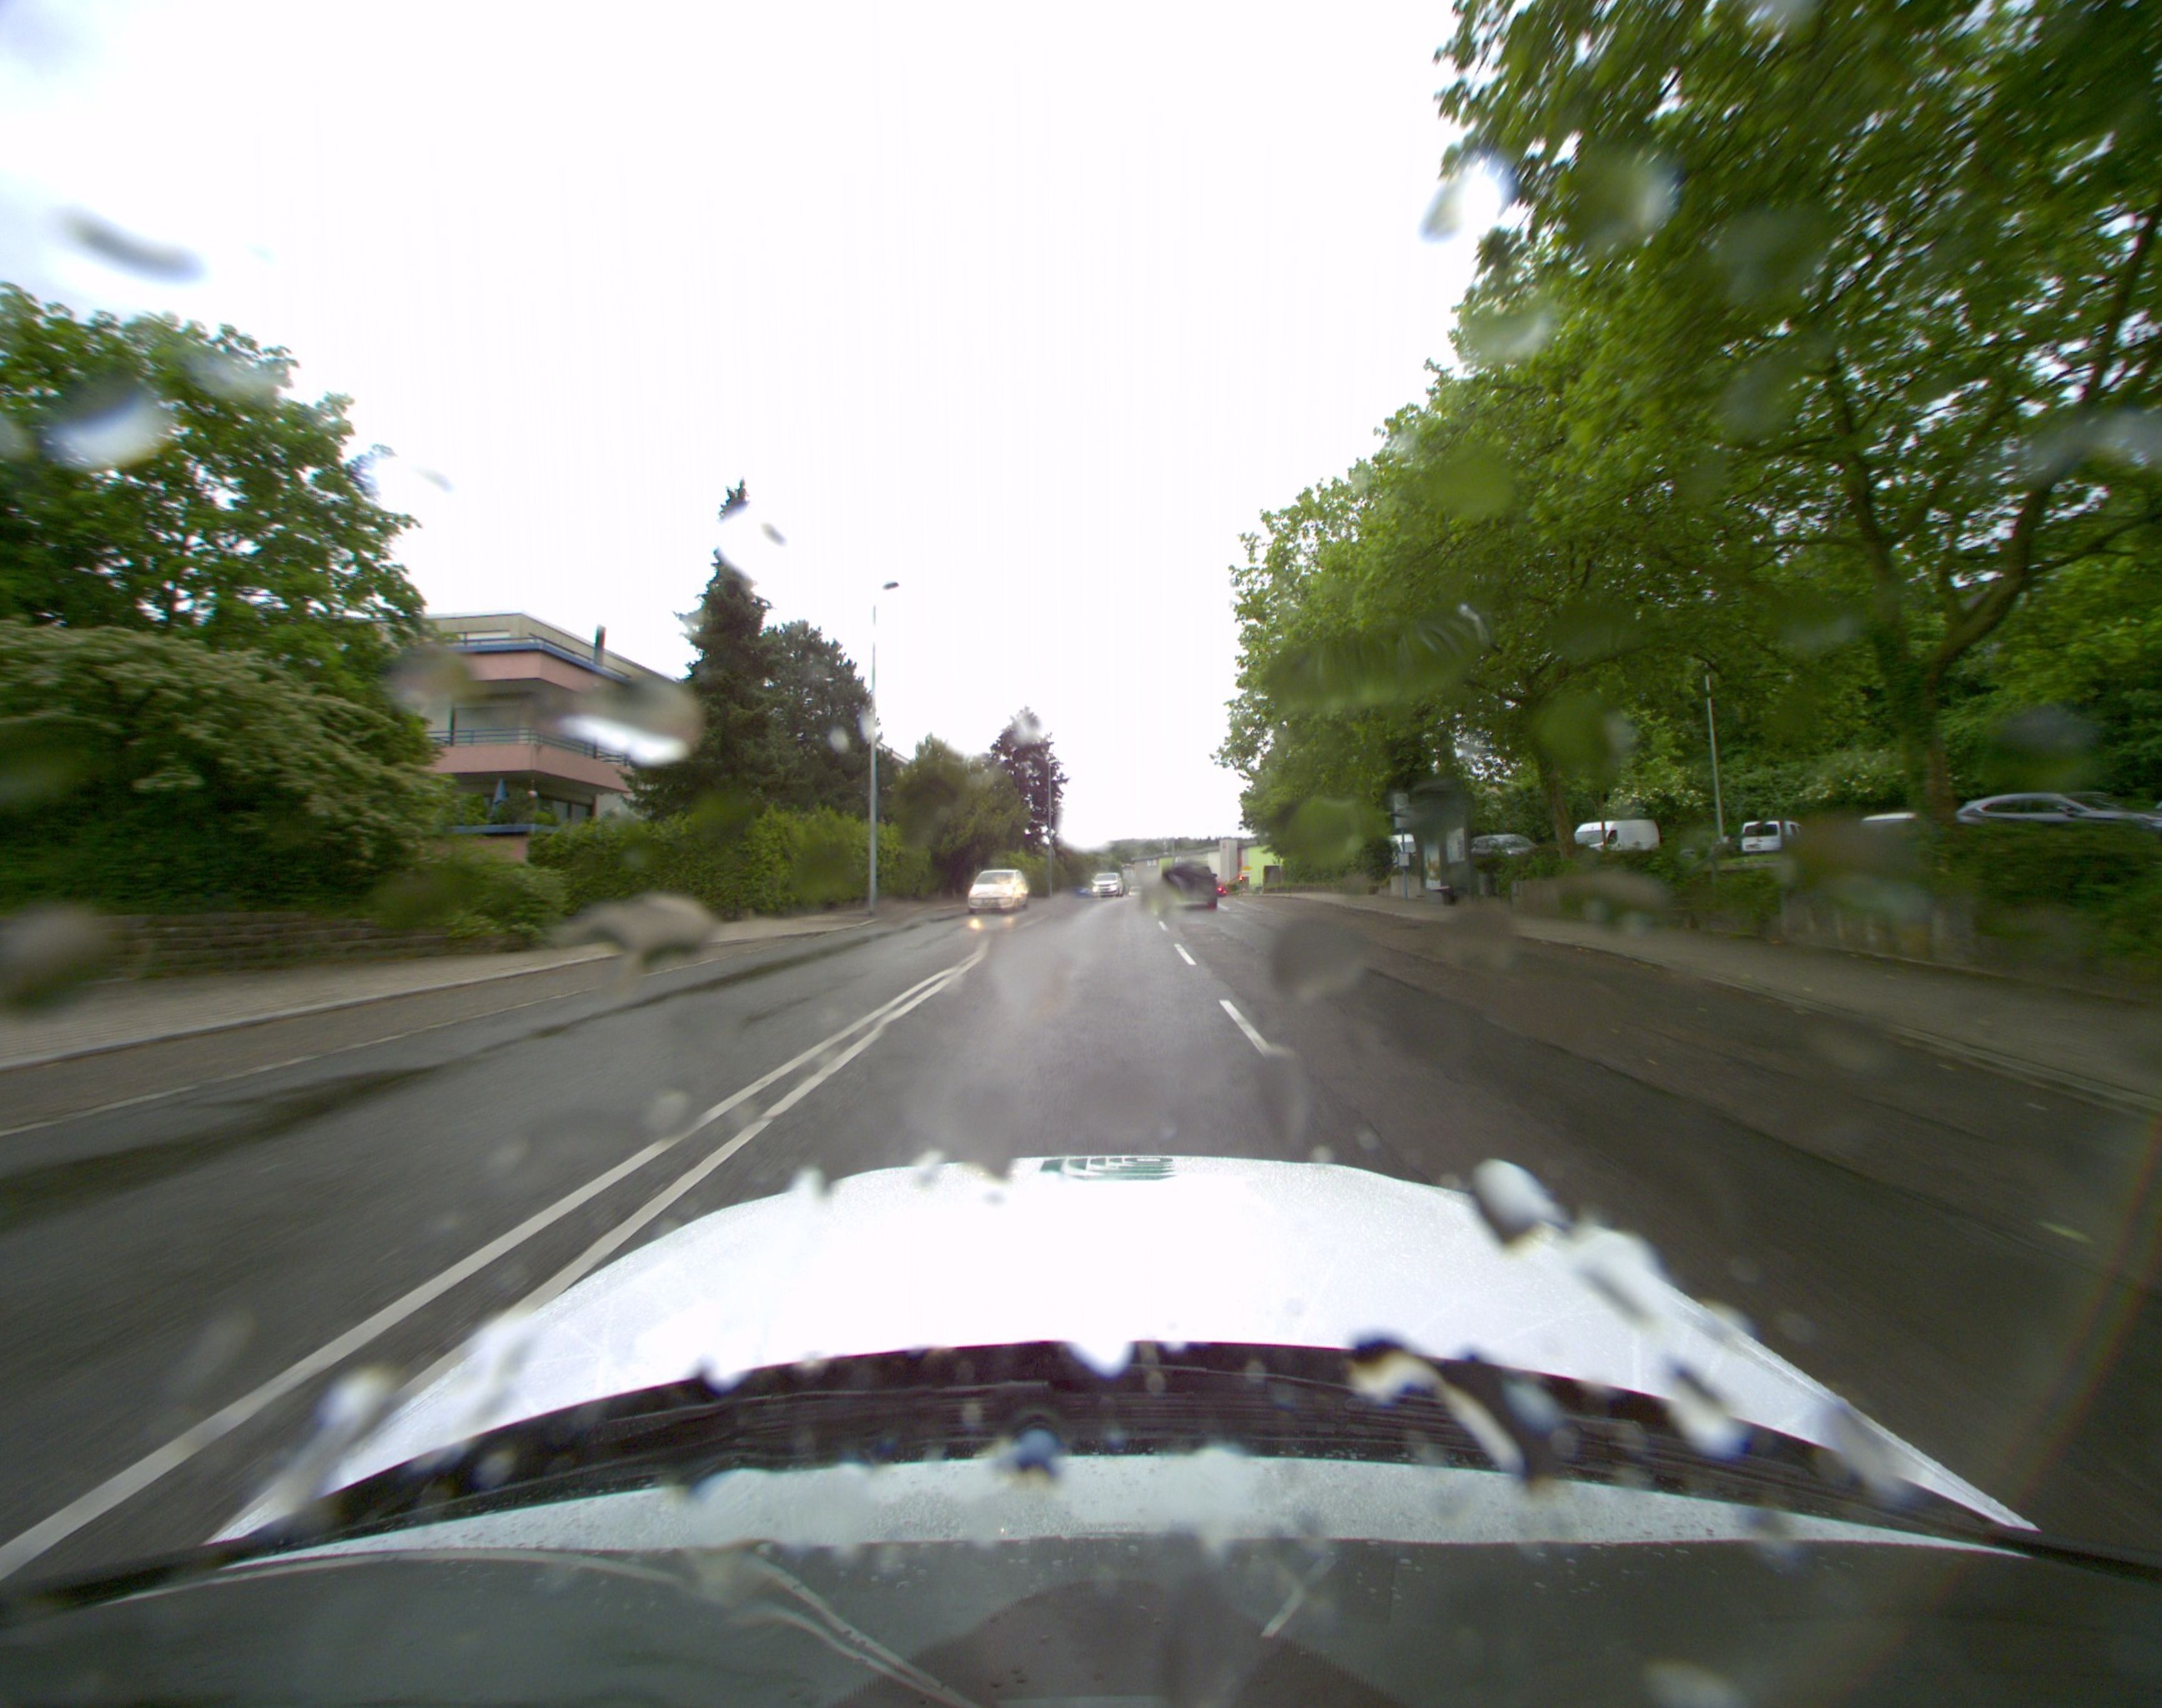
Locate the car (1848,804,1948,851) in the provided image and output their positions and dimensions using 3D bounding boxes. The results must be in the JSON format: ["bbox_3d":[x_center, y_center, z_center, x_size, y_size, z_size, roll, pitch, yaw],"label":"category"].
[{"bbox_3d":[33.648,-1.066,33.534,4.190,1.769,1.787,1,0,-28],"label":"car"}]

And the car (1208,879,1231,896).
[{"bbox_3d":[12.781,3.083,75.271,1.982,1.442,4.008,0,-2,8],"label":"car"}]

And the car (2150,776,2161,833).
[{"bbox_3d":[26.853,-1.161,17.882,1.734,1.335,3.774,1,0,-5],"label":"car"}]

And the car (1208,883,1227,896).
[{"bbox_3d":[15.356,3.947,91.338,1.980,1.442,4.012,0,-2,12],"label":"car"}]

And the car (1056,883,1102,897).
[{"bbox_3d":[-0.164,3.595,82.381,4.461,1.362,1.807,0,-2,4],"label":"car"}]

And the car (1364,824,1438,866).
[{"bbox_3d":[18.251,-0.494,46.756,2.040,2.284,5.011,0,0,-4],"label":"car"}]

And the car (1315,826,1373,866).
[{"bbox_3d":[15.196,-0.452,47.325,1.988,2.226,4.132,0,0,-1],"label":"car"}]

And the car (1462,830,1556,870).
[{"bbox_3d":[18.288,-0.189,35.002,1.815,1.583,4.170,1,0,-1],"label":"car"}]

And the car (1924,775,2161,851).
[{"bbox_3d":[21.820,-0.823,18.109,1.888,1.453,4.172,1,0,1],"label":"car"}]

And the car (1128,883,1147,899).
[{"bbox_3d":[6.359,4.103,90.603,1.690,1.708,3.988,1,-3,9],"label":"car"}]

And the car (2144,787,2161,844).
[{"bbox_3d":[36.412,-1.211,26.217,4.186,1.769,1.789,1,0,-25],"label":"car"}]

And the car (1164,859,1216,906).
[{"bbox_3d":[4.087,1.025,30.840,1.781,1.603,4.260,1,-1,6],"label":"car"}]

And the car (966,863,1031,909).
[{"bbox_3d":[-2.787,1.073,28.154,1.678,1.454,3.401,-1,-1,4],"label":"car"}]

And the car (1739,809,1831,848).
[{"bbox_3d":[32.012,-1.122,37.022,4.190,1.665,1.787,1,0,-28],"label":"car"}]

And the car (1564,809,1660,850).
[{"bbox_3d":[28.030,-1.237,42.986,5.217,2.013,1.981,1,0,-28],"label":"car"}]

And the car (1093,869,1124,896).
[{"bbox_3d":[2.126,2.100,61.383,1.853,1.917,5.039,0,-1,7],"label":"car"}]
